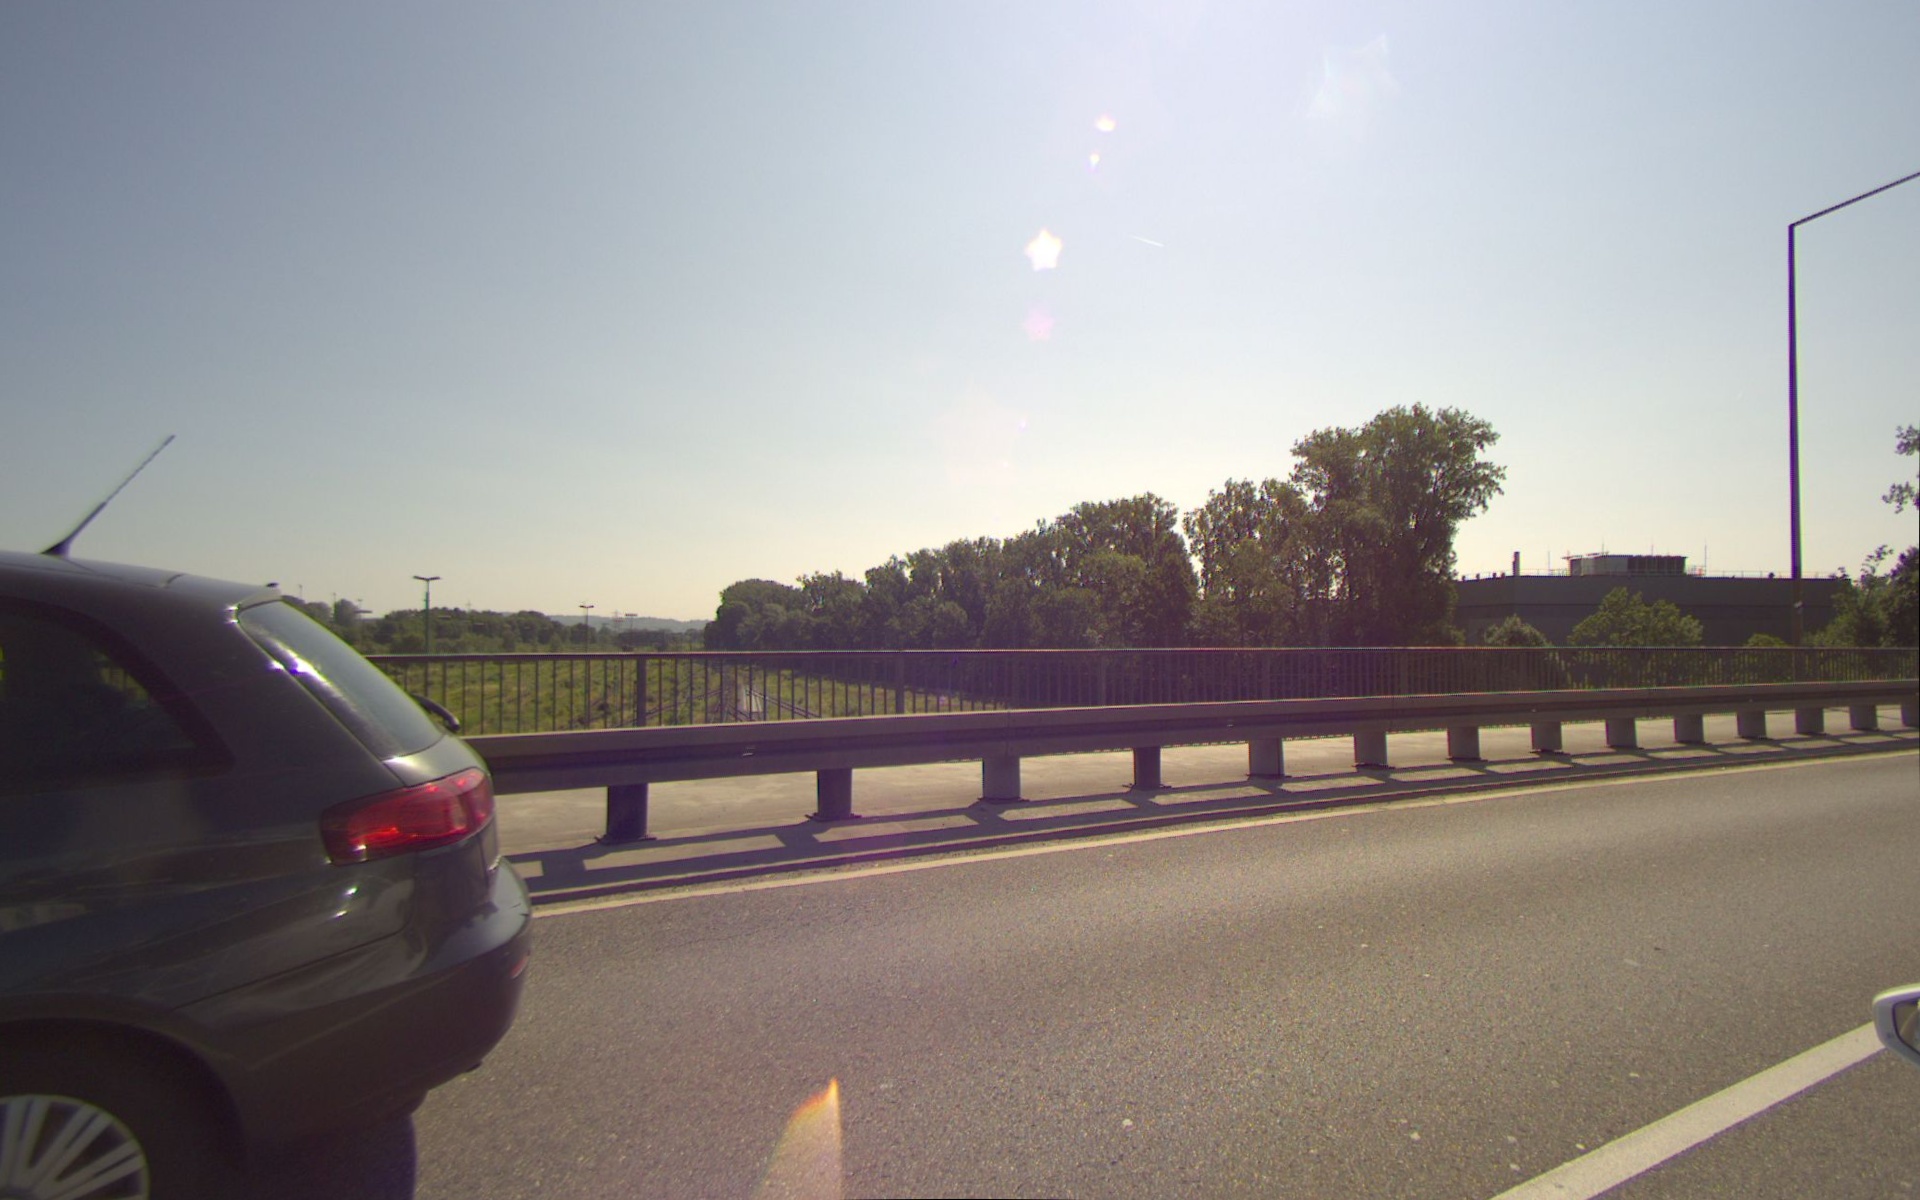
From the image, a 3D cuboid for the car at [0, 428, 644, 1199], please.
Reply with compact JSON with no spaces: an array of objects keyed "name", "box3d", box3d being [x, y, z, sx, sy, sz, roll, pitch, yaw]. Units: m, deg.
[{"name":"car","box3d":[-2.992,0.545,1.969,4.255,1.646,1.723,0,-2,-32]}]
